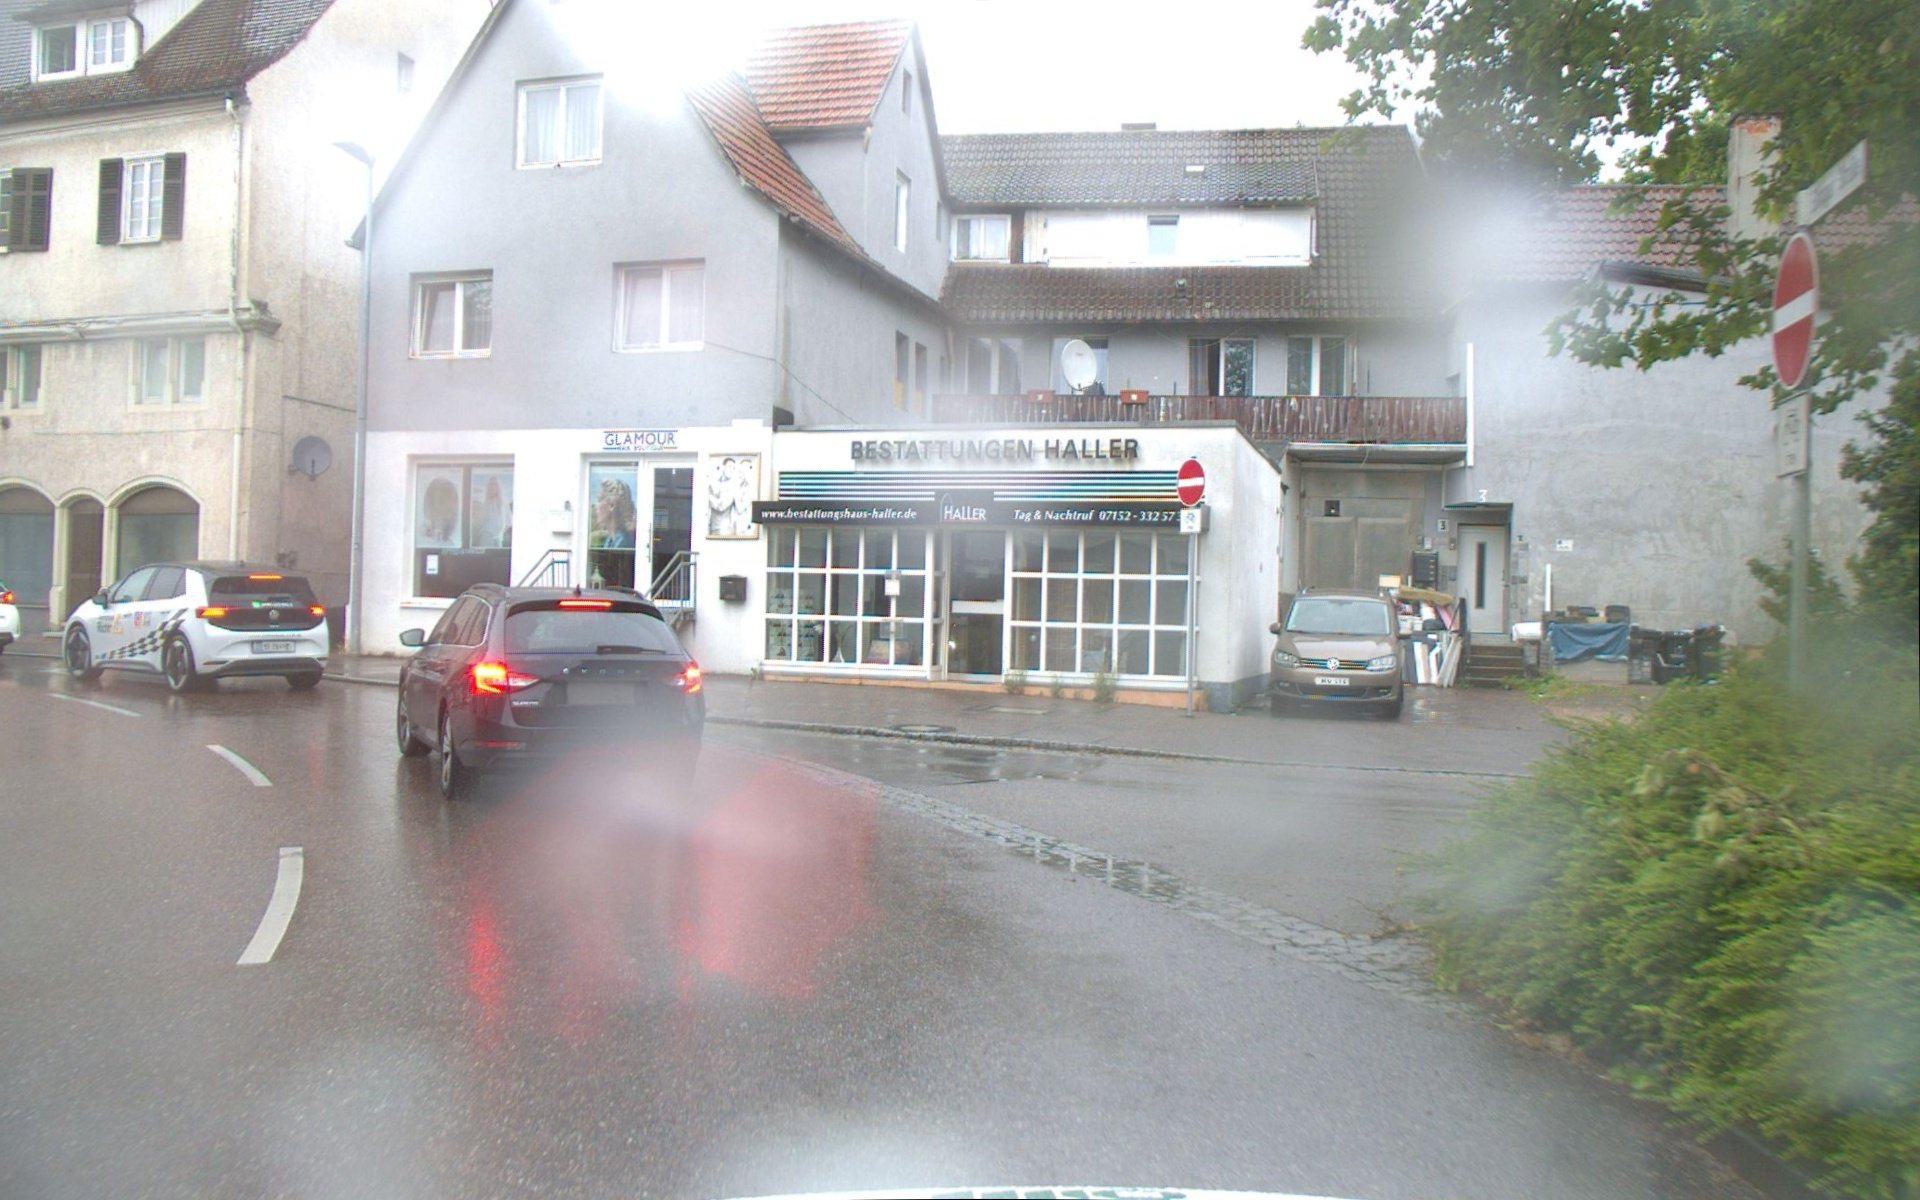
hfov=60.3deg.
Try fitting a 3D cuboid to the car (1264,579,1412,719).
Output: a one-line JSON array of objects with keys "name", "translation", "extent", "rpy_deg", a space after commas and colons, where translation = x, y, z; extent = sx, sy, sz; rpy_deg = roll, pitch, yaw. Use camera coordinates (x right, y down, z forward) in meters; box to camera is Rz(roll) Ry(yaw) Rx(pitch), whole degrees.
[{"name": "car", "translation": [5.548, 0.612, 24.288], "extent": [1.882, 1.758, 4.673], "rpy_deg": [1, 2, 13]}]

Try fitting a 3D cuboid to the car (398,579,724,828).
[{"name": "car", "translation": [-3.226, 0.641, 12.734], "extent": [1.709, 1.475, 4.210], "rpy_deg": [1, 2, -24]}]

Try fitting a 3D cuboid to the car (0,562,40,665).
[{"name": "car", "translation": [-15.992, 0.134, 25.067], "extent": [4.075, 1.491, 1.787], "rpy_deg": [3, 2, 31]}]

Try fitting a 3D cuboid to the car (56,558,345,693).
[{"name": "car", "translation": [-9.721, 0.251, 21.047], "extent": [4.163, 1.543, 1.785], "rpy_deg": [1, 1, 41]}]
